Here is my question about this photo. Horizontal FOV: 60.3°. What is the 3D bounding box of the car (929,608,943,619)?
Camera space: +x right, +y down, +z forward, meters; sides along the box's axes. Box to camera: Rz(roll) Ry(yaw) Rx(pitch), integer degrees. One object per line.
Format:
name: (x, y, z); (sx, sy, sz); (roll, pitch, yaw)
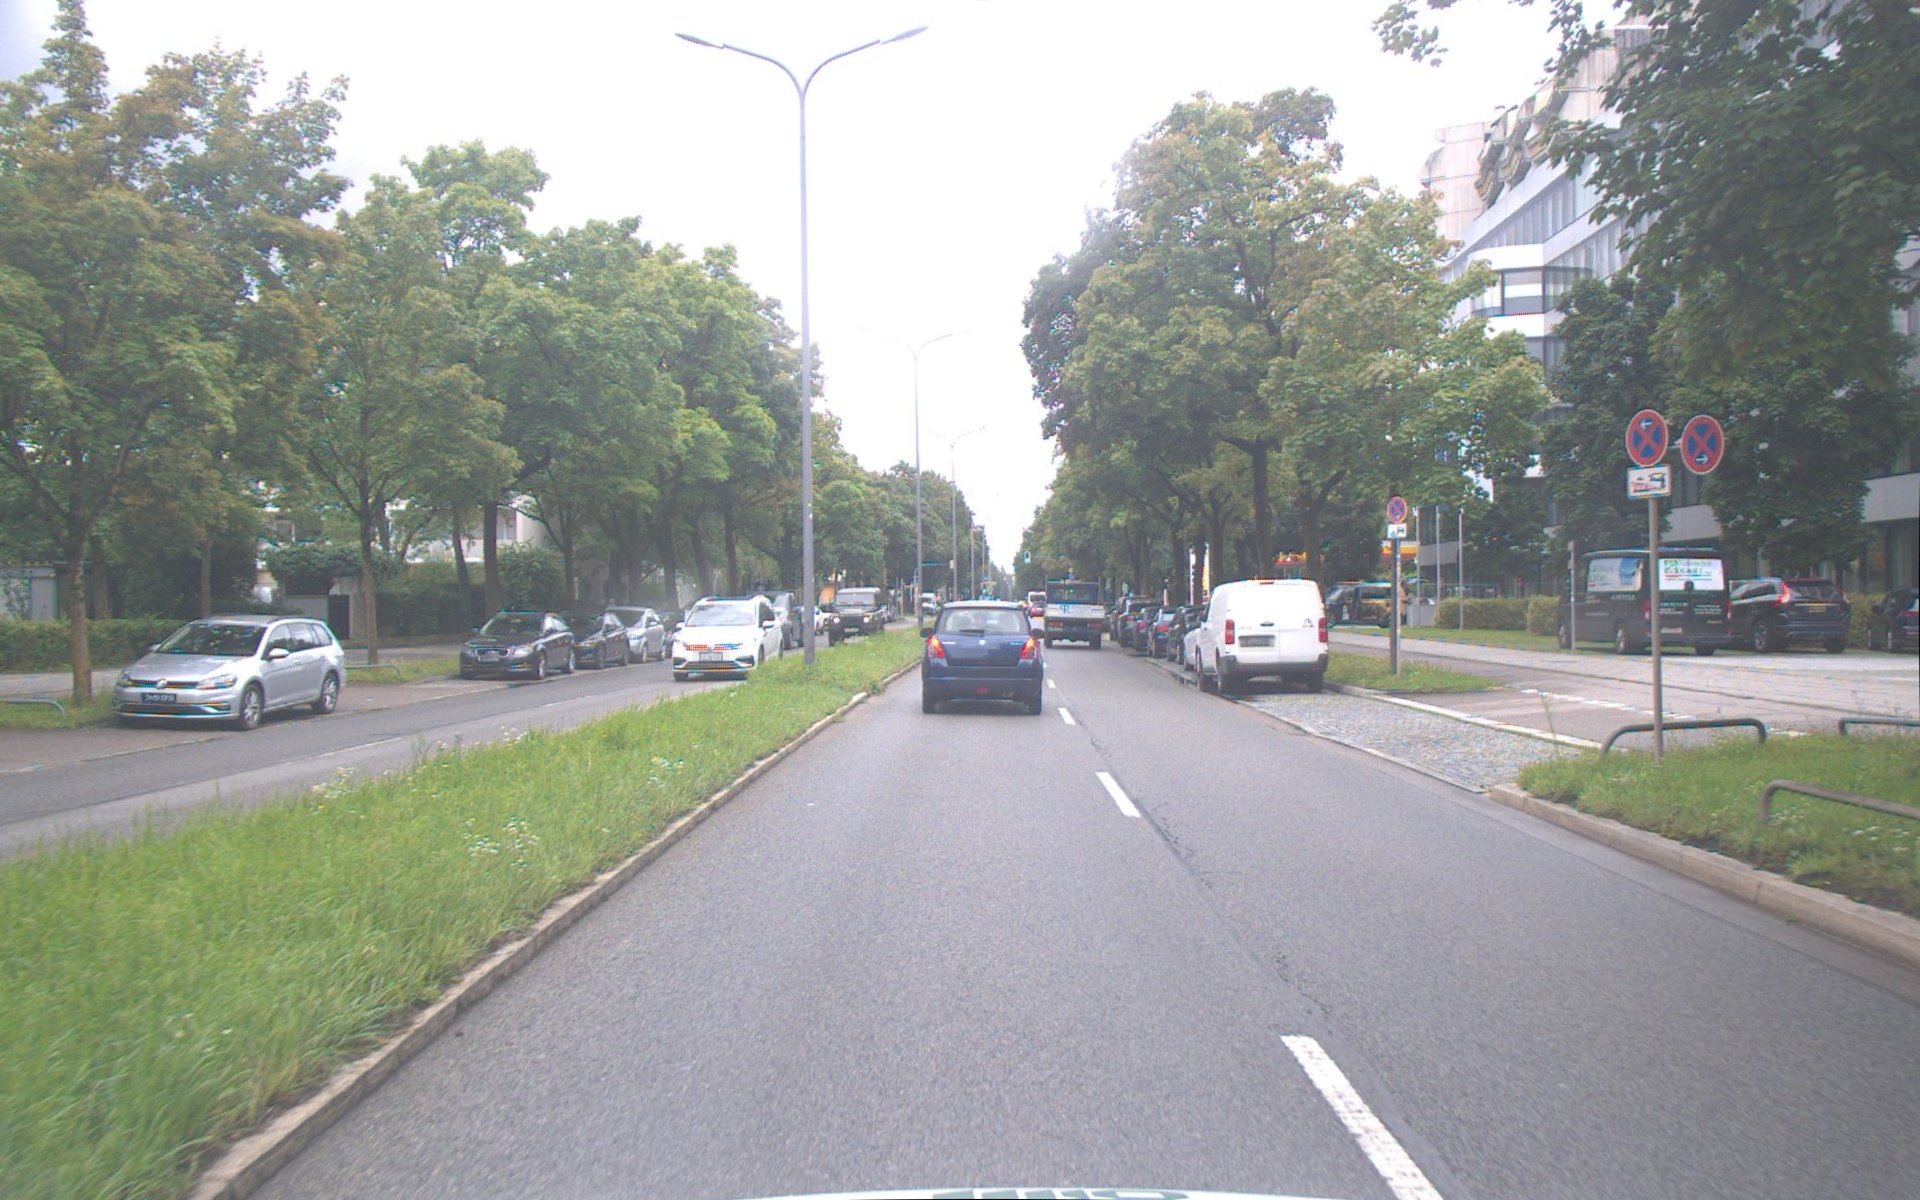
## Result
car: (-3.148, 1.761, 216.653); (1.602, 1.467, 3.735); (-1, 0, 2)

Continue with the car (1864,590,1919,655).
car: (21.807, 0.488, 37.442); (1.745, 1.398, 3.966); (0, 0, 20)

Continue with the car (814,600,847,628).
car: (-7.615, 0.839, 97.662); (1.656, 1.593, 3.079); (-1, 0, 0)

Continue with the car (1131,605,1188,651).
car: (6.538, 0.893, 54.567); (1.666, 1.433, 4.515); (-1, 0, 5)

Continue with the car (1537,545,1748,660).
car: (15.388, 0.070, 37.786); (2.218, 2.347, 6.268); (-1, 0, 0)

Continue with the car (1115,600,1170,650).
car: (6.591, 0.868, 60.091); (1.775, 1.705, 4.802); (-1, 0, 4)

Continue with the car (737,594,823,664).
car: (-6.245, 0.970, 57.967); (2.163, 2.232, 5.800); (-2, 0, 1)

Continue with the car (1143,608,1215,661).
car: (6.294, 0.970, 47.872); (1.666, 1.446, 4.122); (-1, 0, 2)

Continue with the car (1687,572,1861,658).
car: (18.710, 0.336, 38.265); (1.804, 1.850, 4.472); (-1, 0, 0)

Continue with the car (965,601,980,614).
car: (1.585, 0.904, 203.843); (1.703, 1.465, 4.216); (-1, 0, 2)

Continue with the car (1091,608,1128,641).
car: (7.650, 1.232, 84.969); (1.742, 1.537, 4.287); (-2, 0, 4)

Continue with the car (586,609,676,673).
car: (-9.332, 1.138, 47.193); (1.592, 1.676, 3.869); (2, 0, 3)

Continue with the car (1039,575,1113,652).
car: (3.937, 0.442, 56.483); (2.368, 2.487, 5.088); (1, 0, 3)

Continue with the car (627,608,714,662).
car: (-9.113, 1.076, 52.403); (1.680, 1.551, 5.035); (2, 0, 1)

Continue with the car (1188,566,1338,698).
car: (5.516, 0.551, 30.792); (1.946, 2.195, 5.557); (-1, 0, 2)

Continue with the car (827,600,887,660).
car: (-3.720, 1.072, 60.346); (1.743, 2.065, 4.819); (-1, 0, 1)

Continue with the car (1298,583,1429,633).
car: (17.997, 0.361, 73.915); (5.357, 2.120, 2.147); (-1, 0, 1)

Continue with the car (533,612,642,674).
car: (-9.506, 1.057, 42.515); (1.592, 1.448, 4.193); (2, 0, 3)

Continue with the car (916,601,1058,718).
car: (0.325, 0.794, 23.585); (1.858, 1.525, 3.659); (0, 0, -1)

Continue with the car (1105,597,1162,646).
car: (6.875, 0.832, 66.001); (1.853, 1.831, 4.862); (-1, 0, 2)

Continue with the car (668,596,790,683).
car: (-4.739, 0.779, 34.445); (1.796, 1.671, 4.351); (-1, 0, 1)

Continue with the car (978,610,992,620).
car: (3.772, 2.315, 249.880); (1.701, 1.467, 4.105); (-1, 0, 5)

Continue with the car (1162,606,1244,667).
car: (6.251, 0.912, 42.877); (1.666, 1.472, 3.979); (-1, 0, 2)

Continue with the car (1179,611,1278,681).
car: (5.963, 0.993, 37.116); (1.666, 1.422, 4.234); (-1, 0, 2)

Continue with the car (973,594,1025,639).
car: (1.411, 0.561, 59.170); (1.762, 1.525, 3.661); (-1, 0, 2)

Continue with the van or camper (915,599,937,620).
van or camper: (-4.014, 1.120, 196.497); (2.095, 2.519, 6.260); (-1, 0, 2)

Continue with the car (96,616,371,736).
car: (-10.288, 1.004, 23.882); (1.700, 1.474, 4.823); (2, 0, 1)

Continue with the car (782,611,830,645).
car: (-7.859, 1.415, 84.775); (1.794, 1.637, 4.493); (2, 0, 3)

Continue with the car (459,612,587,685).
car: (-9.661, 1.039, 36.904); (1.548, 1.448, 4.363); (2, 0, 1)
